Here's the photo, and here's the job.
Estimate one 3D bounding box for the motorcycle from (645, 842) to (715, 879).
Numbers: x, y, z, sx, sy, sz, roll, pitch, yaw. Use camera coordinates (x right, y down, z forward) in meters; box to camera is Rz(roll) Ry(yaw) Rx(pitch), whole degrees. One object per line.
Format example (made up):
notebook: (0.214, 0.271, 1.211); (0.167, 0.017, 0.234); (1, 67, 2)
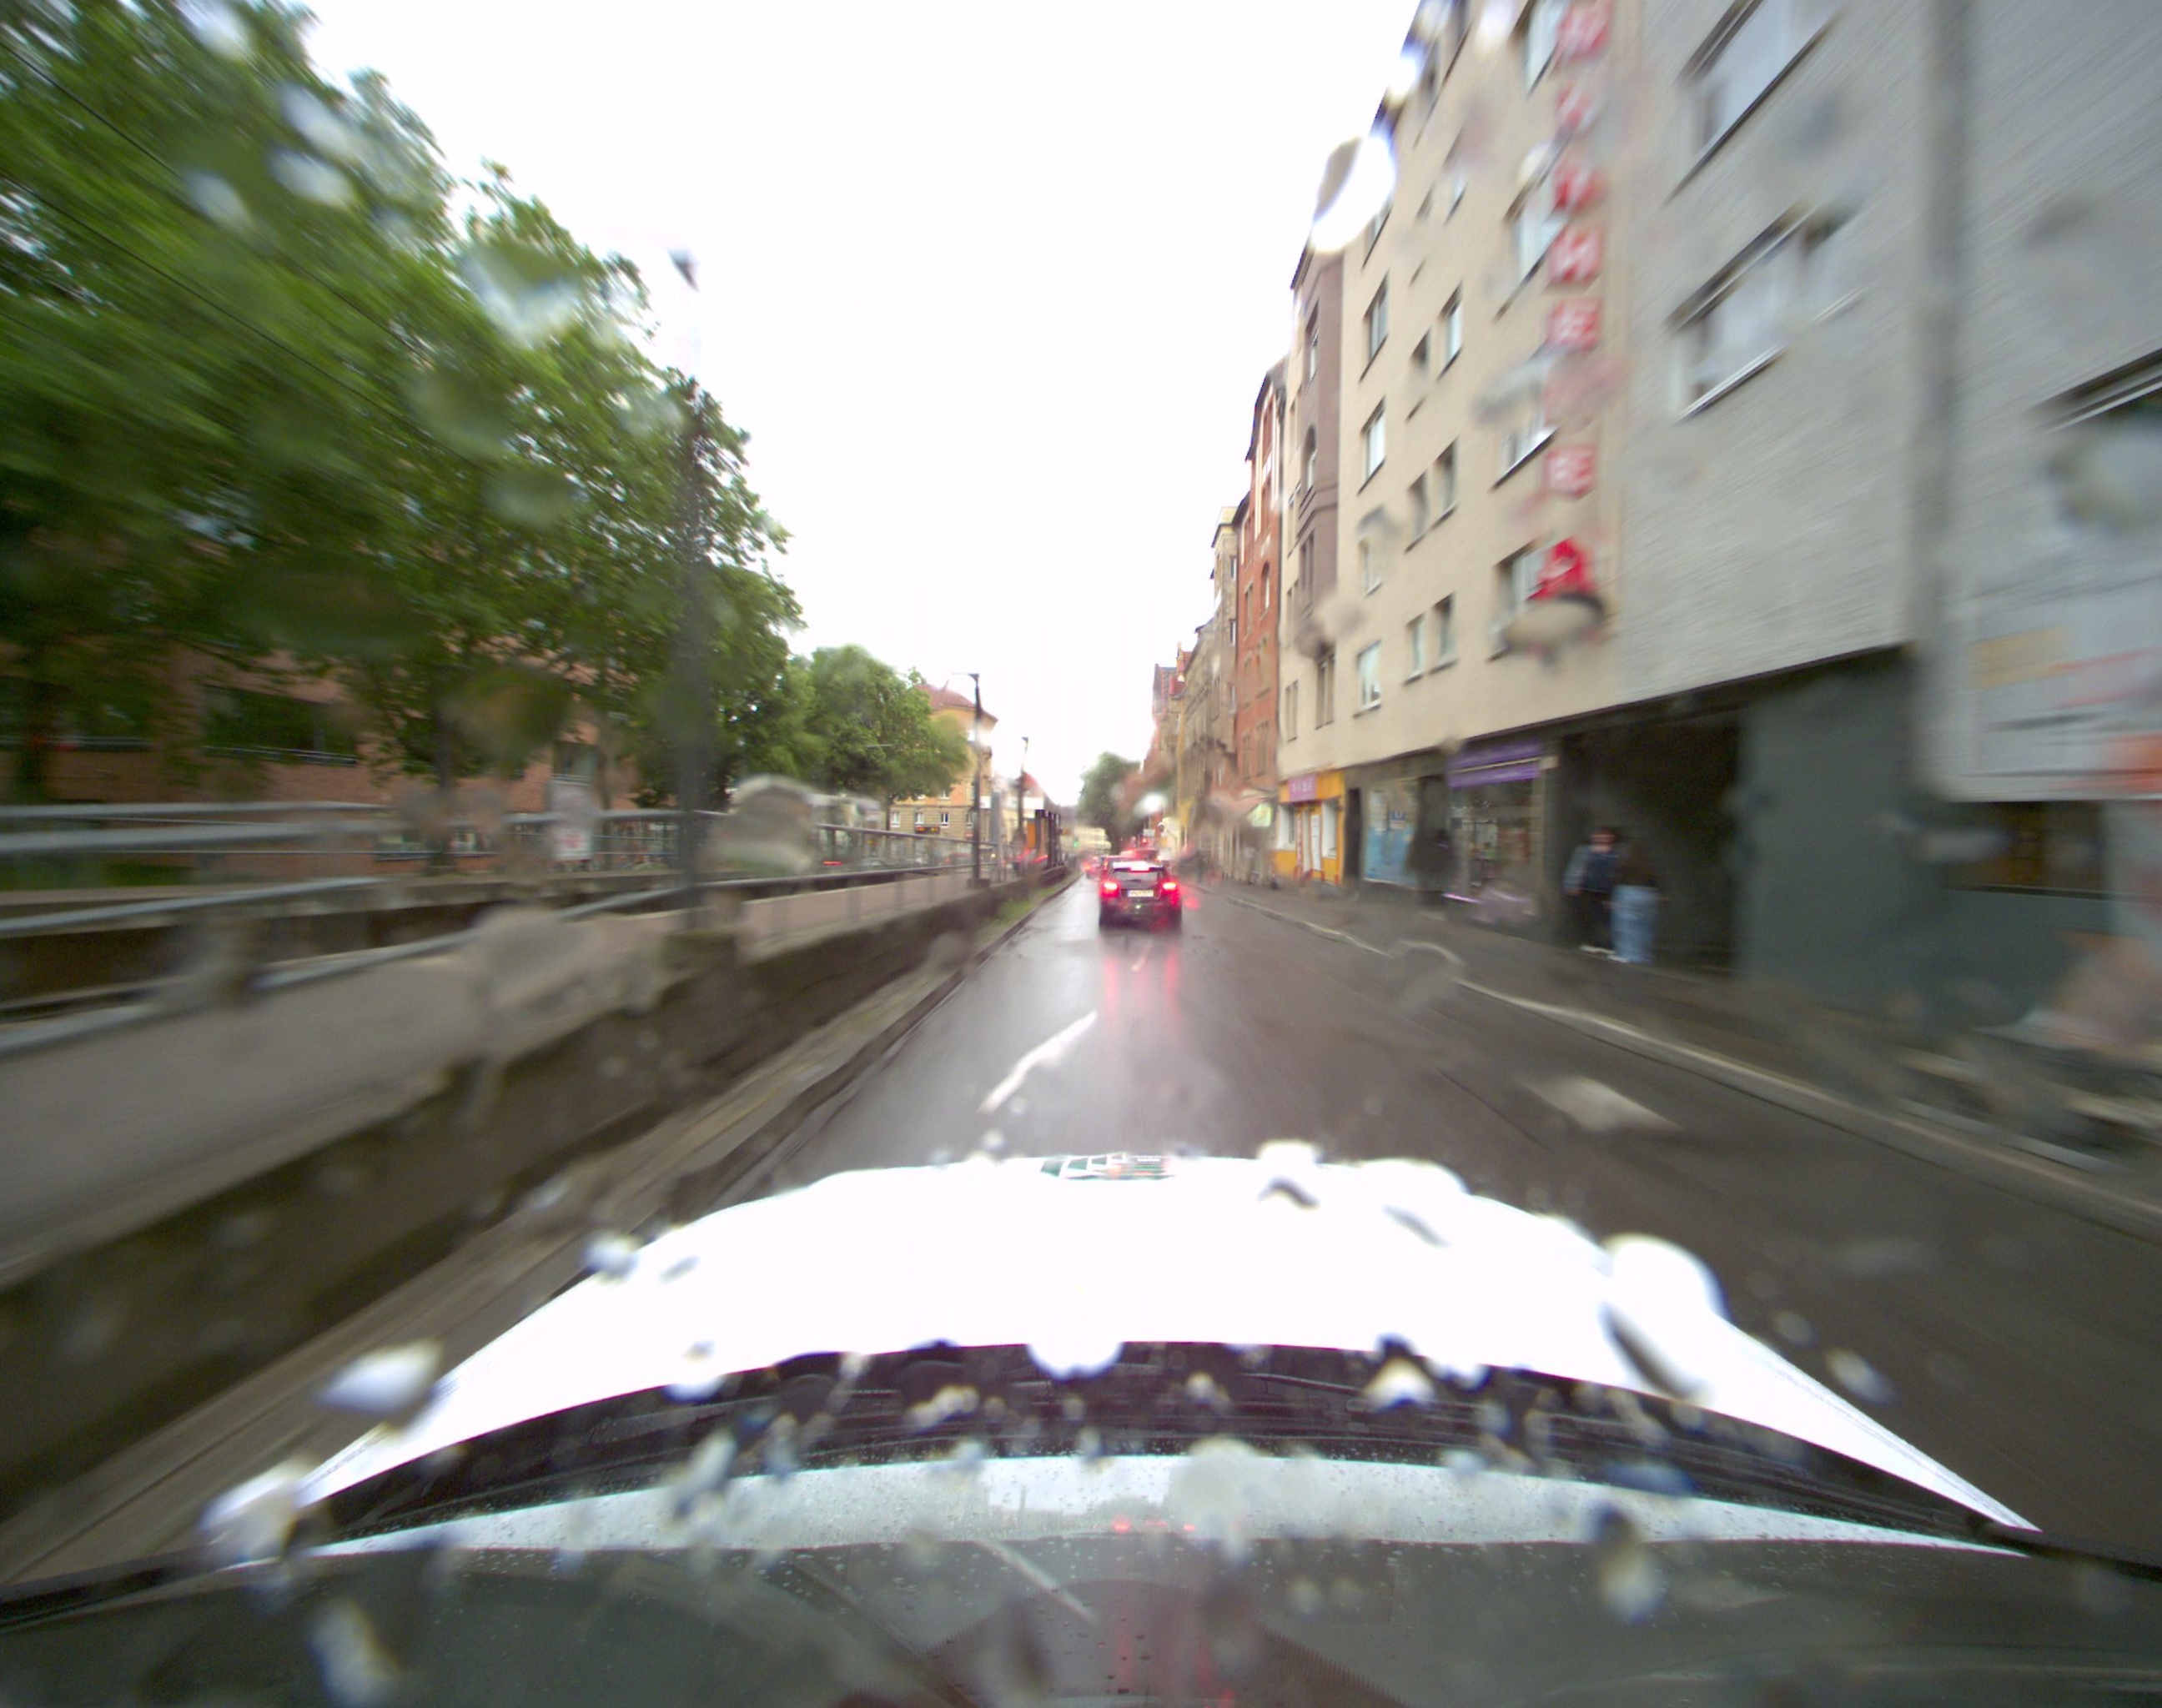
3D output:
motorcycle: (-20.376, 0.311, 41.447); (3.027, 1.816, 0.993); (1, 0, -1)

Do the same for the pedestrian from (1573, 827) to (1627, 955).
pedestrian: (7.157, 0.496, 11.252); (0.458, 1.720, 0.518); (1, -1, 10)

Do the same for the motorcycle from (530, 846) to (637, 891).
motorcycle: (-20.924, 0.596, 34.320); (3.852, 1.816, 1.006); (1, 0, -1)

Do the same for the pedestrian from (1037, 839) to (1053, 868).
pedestrian: (-1.495, -0.022, 33.810); (0.611, 1.227, 0.508); (0, 0, 5)

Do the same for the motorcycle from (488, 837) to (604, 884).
motorcycle: (-20.943, 0.248, 31.928); (3.852, 1.774, 1.006); (1, 0, -1)

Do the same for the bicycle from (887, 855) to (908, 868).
bicycle: (-17.009, 0.653, 75.602); (1.870, 1.195, 0.516); (0, 0, -10)

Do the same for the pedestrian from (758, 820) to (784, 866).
pedestrian: (-11.163, -0.398, 29.348); (0.684, 1.641, 0.564); (1, 1, -1)

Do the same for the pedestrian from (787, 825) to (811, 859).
pedestrian: (-11.708, -0.490, 33.843); (0.775, 1.362, 0.564); (1, 1, -1)

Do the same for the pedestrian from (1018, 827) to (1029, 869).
pedestrian: (-2.208, -0.242, 31.423); (0.408, 1.605, 0.450); (0, 0, -5)

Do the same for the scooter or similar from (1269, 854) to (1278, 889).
scooter or similar: (7.027, 0.625, 29.727); (0.256, 1.222, 1.198); (1, 0, 11)

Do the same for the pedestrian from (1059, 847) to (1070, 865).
pedestrian: (-1.627, 0.202, 78.191); (0.745, 1.724, 0.732); (0, 0, -42)

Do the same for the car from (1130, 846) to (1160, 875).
car: (4.457, 0.434, 57.211); (1.913, 1.936, 4.688); (0, 0, 3)

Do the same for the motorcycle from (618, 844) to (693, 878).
motorcycle: (-20.714, 0.328, 39.676); (3.048, 1.627, 1.006); (1, 0, -1)

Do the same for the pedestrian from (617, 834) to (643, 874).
pedestrian: (-23.210, 0.002, 41.917); (0.729, 2.013, 0.982); (0, 0, 4)

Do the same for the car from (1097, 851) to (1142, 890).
car: (1.539, 0.642, 33.584); (1.674, 1.489, 3.612); (0, 0, 0)

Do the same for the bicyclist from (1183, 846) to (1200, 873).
bicyclist: (7.053, 0.358, 51.893); (0.854, 1.657, 0.624); (-1, -1, -38)

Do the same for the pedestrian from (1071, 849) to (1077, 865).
pedestrian: (-0.652, 0.269, 78.047); (0.531, 1.530, 0.435); (0, 0, -7)

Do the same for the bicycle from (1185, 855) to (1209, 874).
bicycle: (7.325, 0.652, 51.447); (1.697, 1.115, 0.459); (-1, -1, -38)

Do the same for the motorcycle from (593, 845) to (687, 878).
motorcycle: (-20.852, 0.341, 38.541); (3.852, 1.488, 1.006); (1, 0, -1)

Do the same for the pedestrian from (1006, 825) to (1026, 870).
pedestrian: (-2.341, -0.244, 29.382); (0.492, 1.605, 0.640); (0, 0, 18)

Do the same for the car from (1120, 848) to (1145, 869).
car: (4.607, 0.369, 73.692); (1.927, 1.831, 4.279); (0, 0, -1)

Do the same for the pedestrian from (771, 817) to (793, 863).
pedestrian: (-11.404, -0.536, 31.053); (0.560, 1.715, 0.706); (1, 1, -1)

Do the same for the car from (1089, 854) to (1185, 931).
car: (1.219, 0.776, 18.527); (1.887, 1.390, 4.003); (3, 1, 2)

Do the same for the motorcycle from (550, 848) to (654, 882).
motorcycle: (-20.712, 0.449, 35.243); (3.852, 1.407, 1.006); (1, 0, -1)

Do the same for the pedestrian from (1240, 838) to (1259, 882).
pedestrian: (7.230, 0.259, 34.882); (0.576, 1.830, 0.563); (-3, -1, -1)

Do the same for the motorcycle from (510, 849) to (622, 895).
motorcycle: (-20.953, 0.716, 33.171); (3.852, 1.816, 1.006); (1, 0, -1)

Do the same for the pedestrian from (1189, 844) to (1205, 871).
pedestrian: (7.633, 0.250, 53.652); (0.841, 1.754, 0.678); (-1, 0, -43)

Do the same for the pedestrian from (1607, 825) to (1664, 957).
pedestrian: (7.073, 0.464, 10.396); (0.478, 1.645, 0.332); (1, 0, 5)

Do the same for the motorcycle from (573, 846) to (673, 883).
motorcycle: (-20.530, 0.457, 36.534); (3.852, 1.605, 1.006); (1, 0, -1)
